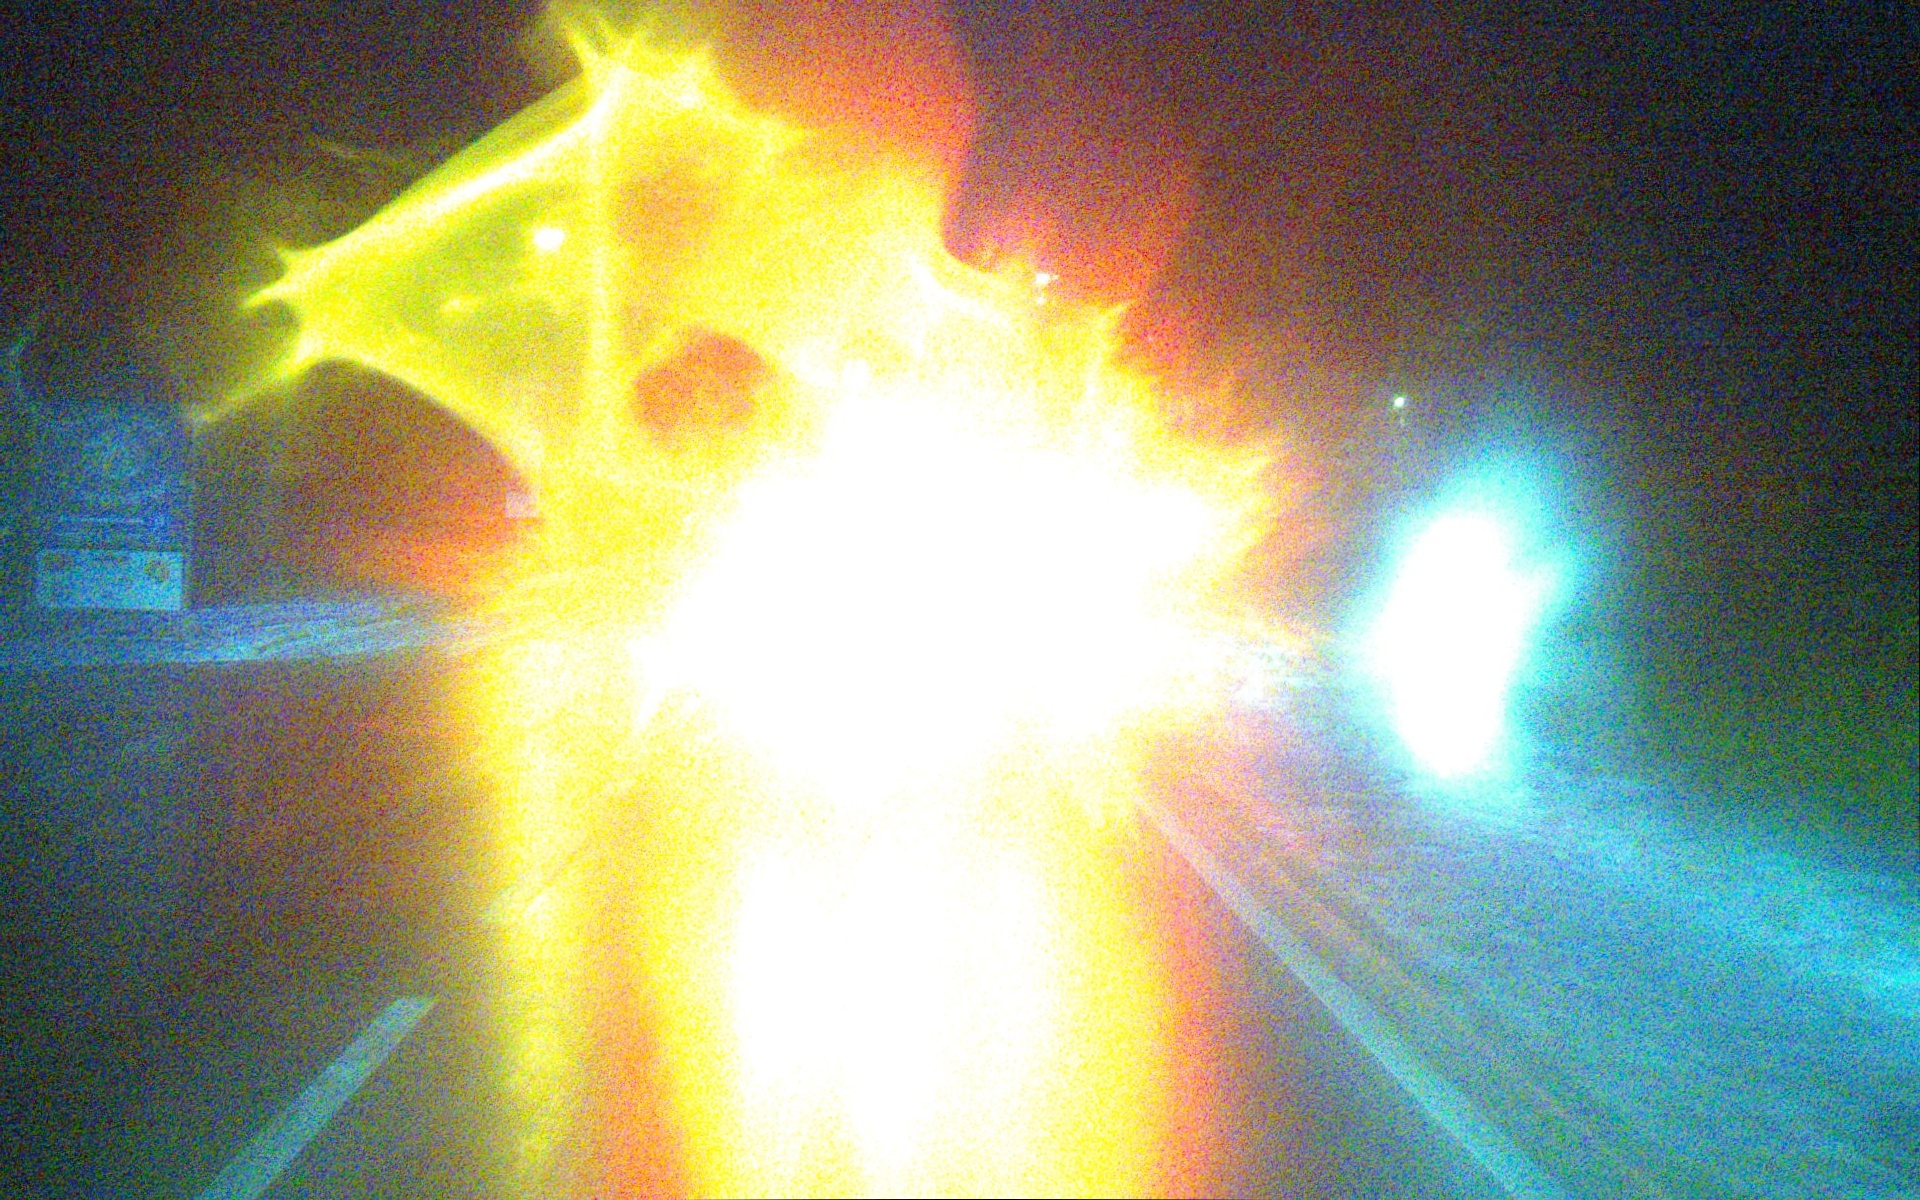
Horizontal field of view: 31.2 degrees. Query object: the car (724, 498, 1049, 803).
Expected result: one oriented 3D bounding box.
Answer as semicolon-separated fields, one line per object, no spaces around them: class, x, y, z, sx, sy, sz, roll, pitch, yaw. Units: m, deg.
car;-0.364;0.235;20.993;1.791;1.675;3.904;0;1;1
